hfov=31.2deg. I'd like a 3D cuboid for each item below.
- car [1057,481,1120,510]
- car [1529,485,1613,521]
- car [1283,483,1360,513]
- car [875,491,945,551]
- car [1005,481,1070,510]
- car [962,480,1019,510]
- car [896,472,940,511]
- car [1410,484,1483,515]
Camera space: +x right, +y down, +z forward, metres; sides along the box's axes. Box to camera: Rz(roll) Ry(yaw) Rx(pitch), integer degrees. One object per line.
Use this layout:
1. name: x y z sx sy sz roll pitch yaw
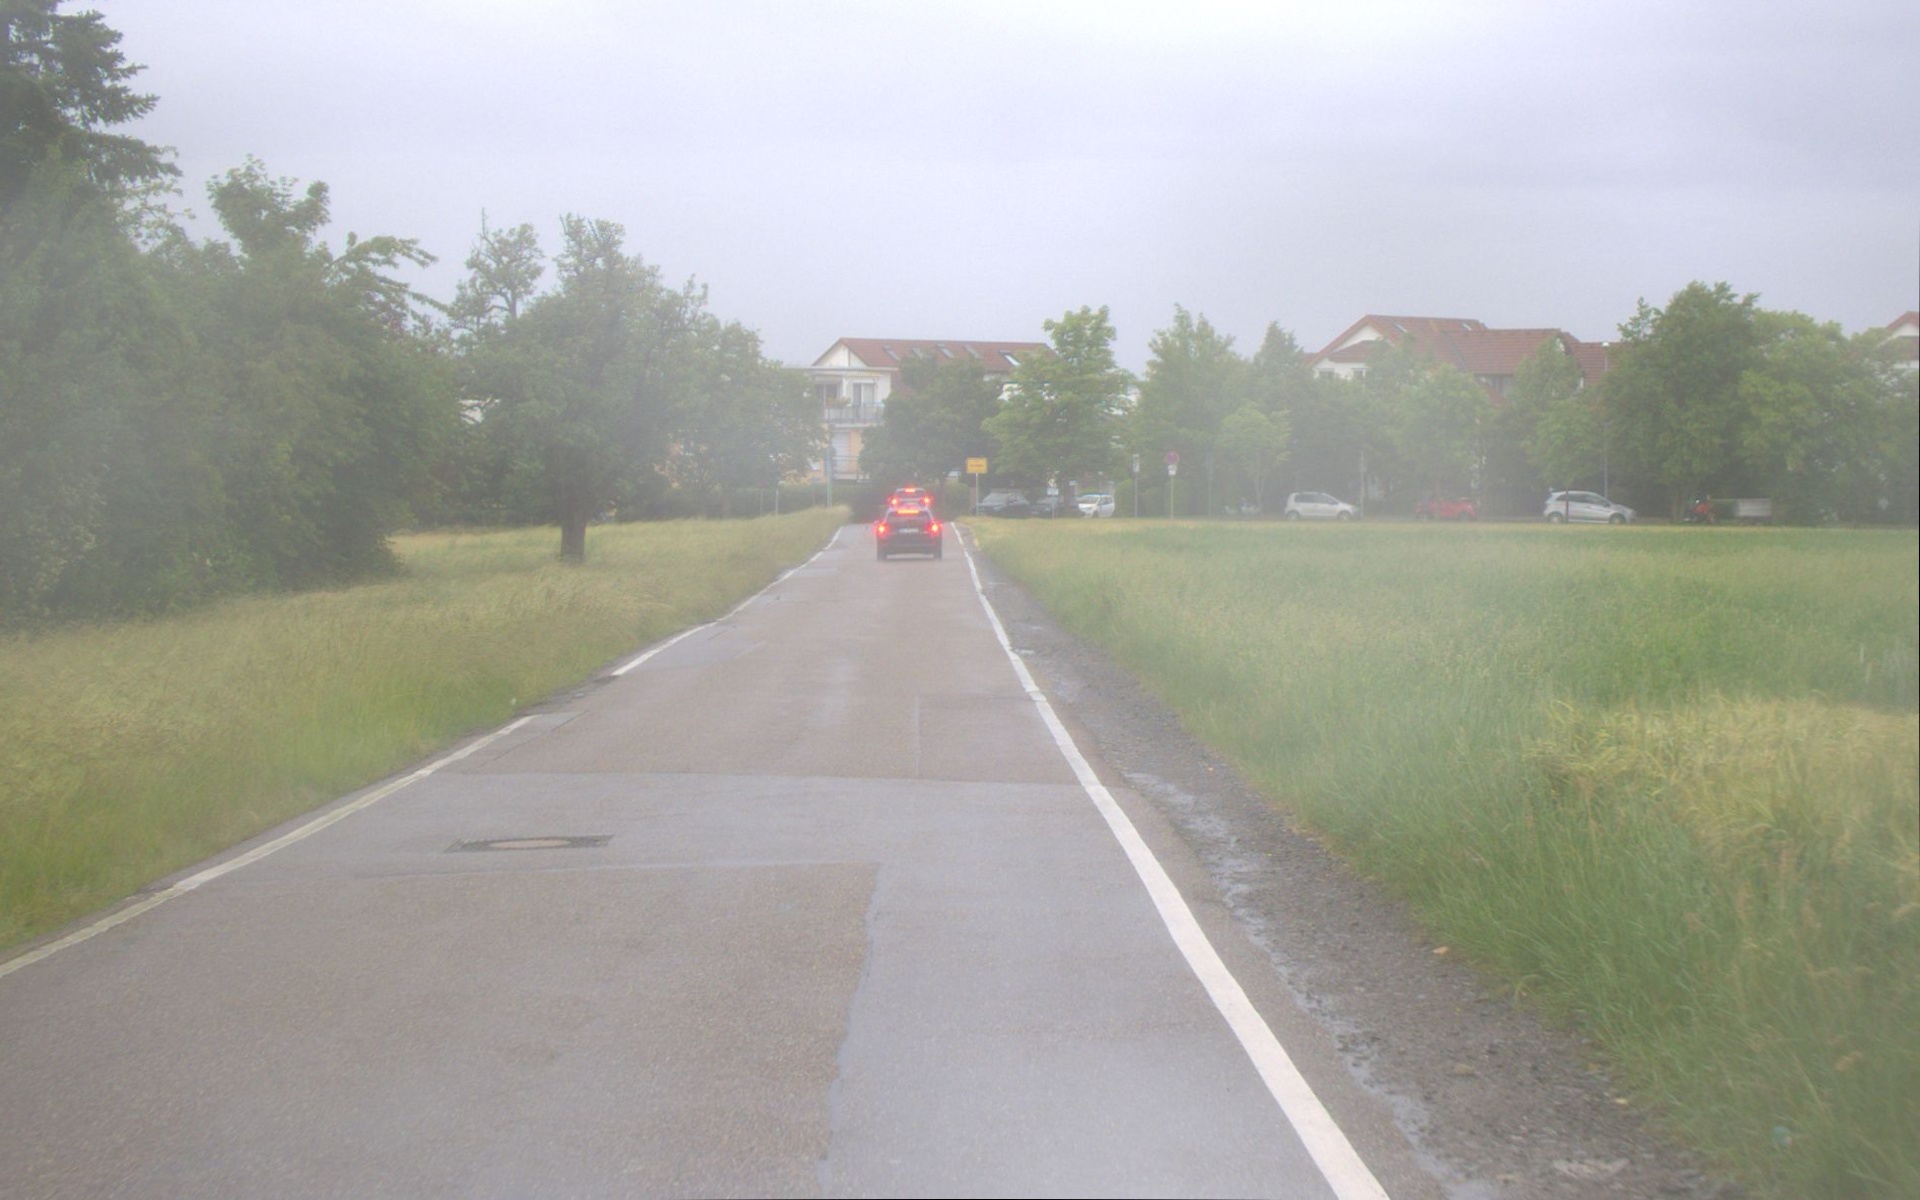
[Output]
1. car: 7.380 -5.972 197.202 1.664 1.541 3.992 0 1 35
2. car: 27.772 -4.406 156.199 3.711 1.558 1.609 0 0 13
3. car: 16.725 -4.704 158.979 3.392 1.366 1.547 0 0 13
4. car: -1.355 -2.151 94.210 1.814 1.588 4.000 0 0 1
5. car: 4.367 -5.848 192.946 1.664 1.541 3.992 0 1 35
6. car: 1.683 -5.716 187.895 1.663 1.541 3.995 0 0 24
7. car: -1.818 -4.701 149.608 1.814 1.588 4.000 0 0 1
8. car: 22.322 -4.612 157.753 3.194 1.366 1.571 0 0 13
